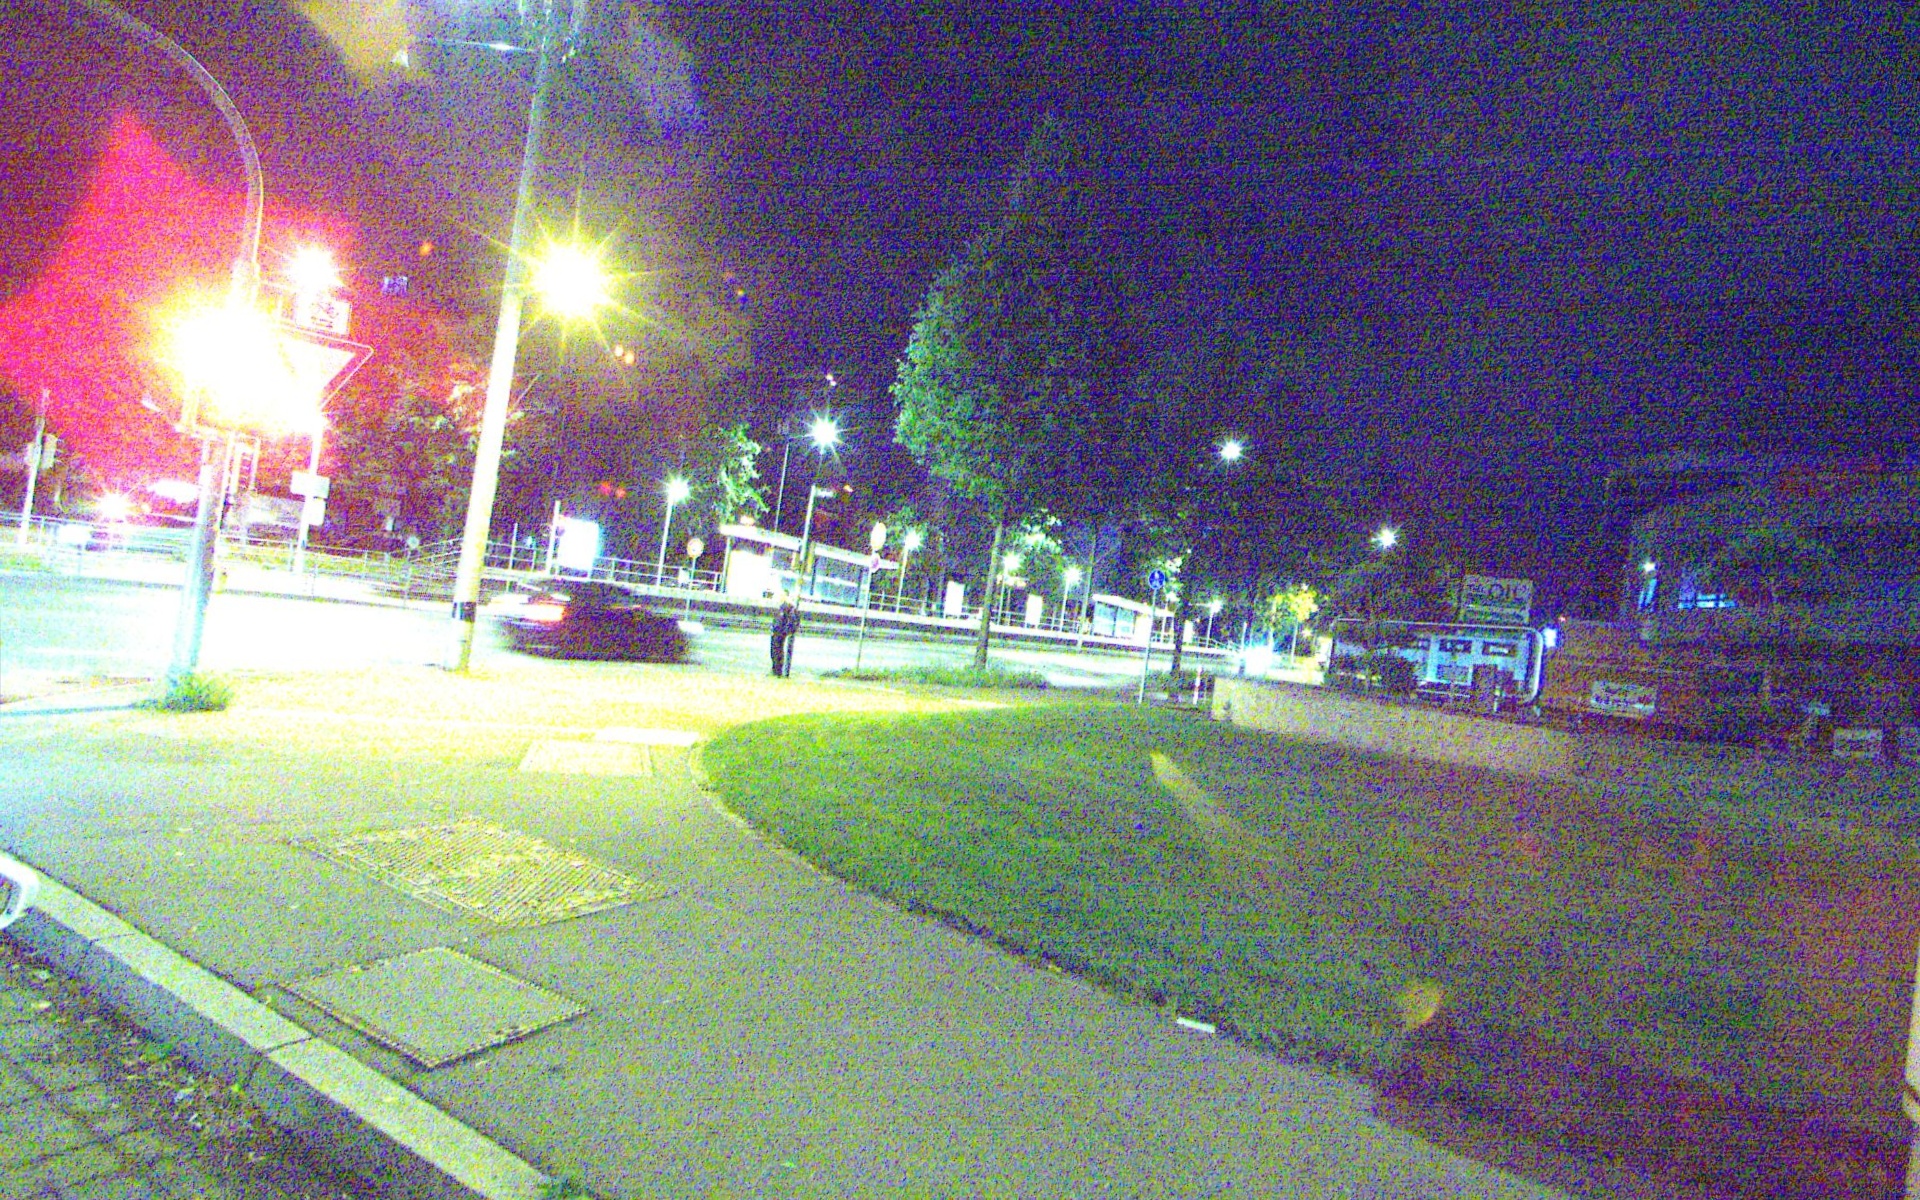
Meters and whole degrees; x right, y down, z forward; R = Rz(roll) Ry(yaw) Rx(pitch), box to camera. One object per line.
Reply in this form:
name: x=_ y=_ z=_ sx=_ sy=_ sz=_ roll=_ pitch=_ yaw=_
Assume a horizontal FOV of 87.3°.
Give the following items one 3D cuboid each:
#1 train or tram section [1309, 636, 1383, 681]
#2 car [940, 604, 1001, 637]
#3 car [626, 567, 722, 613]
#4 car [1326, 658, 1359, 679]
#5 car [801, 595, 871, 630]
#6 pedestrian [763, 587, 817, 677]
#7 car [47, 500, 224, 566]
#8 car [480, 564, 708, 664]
train or tram section: x=43.073 y=6.631 z=111.577 sx=2.918 sy=3.896 sz=18.427 roll=8 pitch=0 yaw=35
car: x=0.771 y=1.440 z=68.670 sx=1.816 sy=1.603 sz=4.578 roll=8 pitch=-2 yaw=33
car: x=-13.374 y=-0.448 z=47.215 sx=1.776 sy=1.604 sz=3.986 roll=8 pitch=0 yaw=37
car: x=32.515 y=5.833 z=85.537 sx=1.617 sy=1.438 sz=3.687 roll=7 pitch=0 yaw=35
car: x=-7.582 y=0.765 z=62.013 sx=1.776 sy=1.603 sz=4.237 roll=5 pitch=-3 yaw=36
pedestrian: x=-3.312 y=0.618 z=19.598 sx=0.867 sy=1.677 sz=0.835 roll=3 pitch=1 yaw=-18
car: x=-26.962 y=-2.171 z=33.028 sx=1.813 sy=1.441 sz=4.063 roll=9 pitch=0 yaw=35
car: x=-7.029 y=0.338 z=19.702 sx=1.631 sy=1.492 sz=3.880 roll=10 pitch=1 yaw=32
